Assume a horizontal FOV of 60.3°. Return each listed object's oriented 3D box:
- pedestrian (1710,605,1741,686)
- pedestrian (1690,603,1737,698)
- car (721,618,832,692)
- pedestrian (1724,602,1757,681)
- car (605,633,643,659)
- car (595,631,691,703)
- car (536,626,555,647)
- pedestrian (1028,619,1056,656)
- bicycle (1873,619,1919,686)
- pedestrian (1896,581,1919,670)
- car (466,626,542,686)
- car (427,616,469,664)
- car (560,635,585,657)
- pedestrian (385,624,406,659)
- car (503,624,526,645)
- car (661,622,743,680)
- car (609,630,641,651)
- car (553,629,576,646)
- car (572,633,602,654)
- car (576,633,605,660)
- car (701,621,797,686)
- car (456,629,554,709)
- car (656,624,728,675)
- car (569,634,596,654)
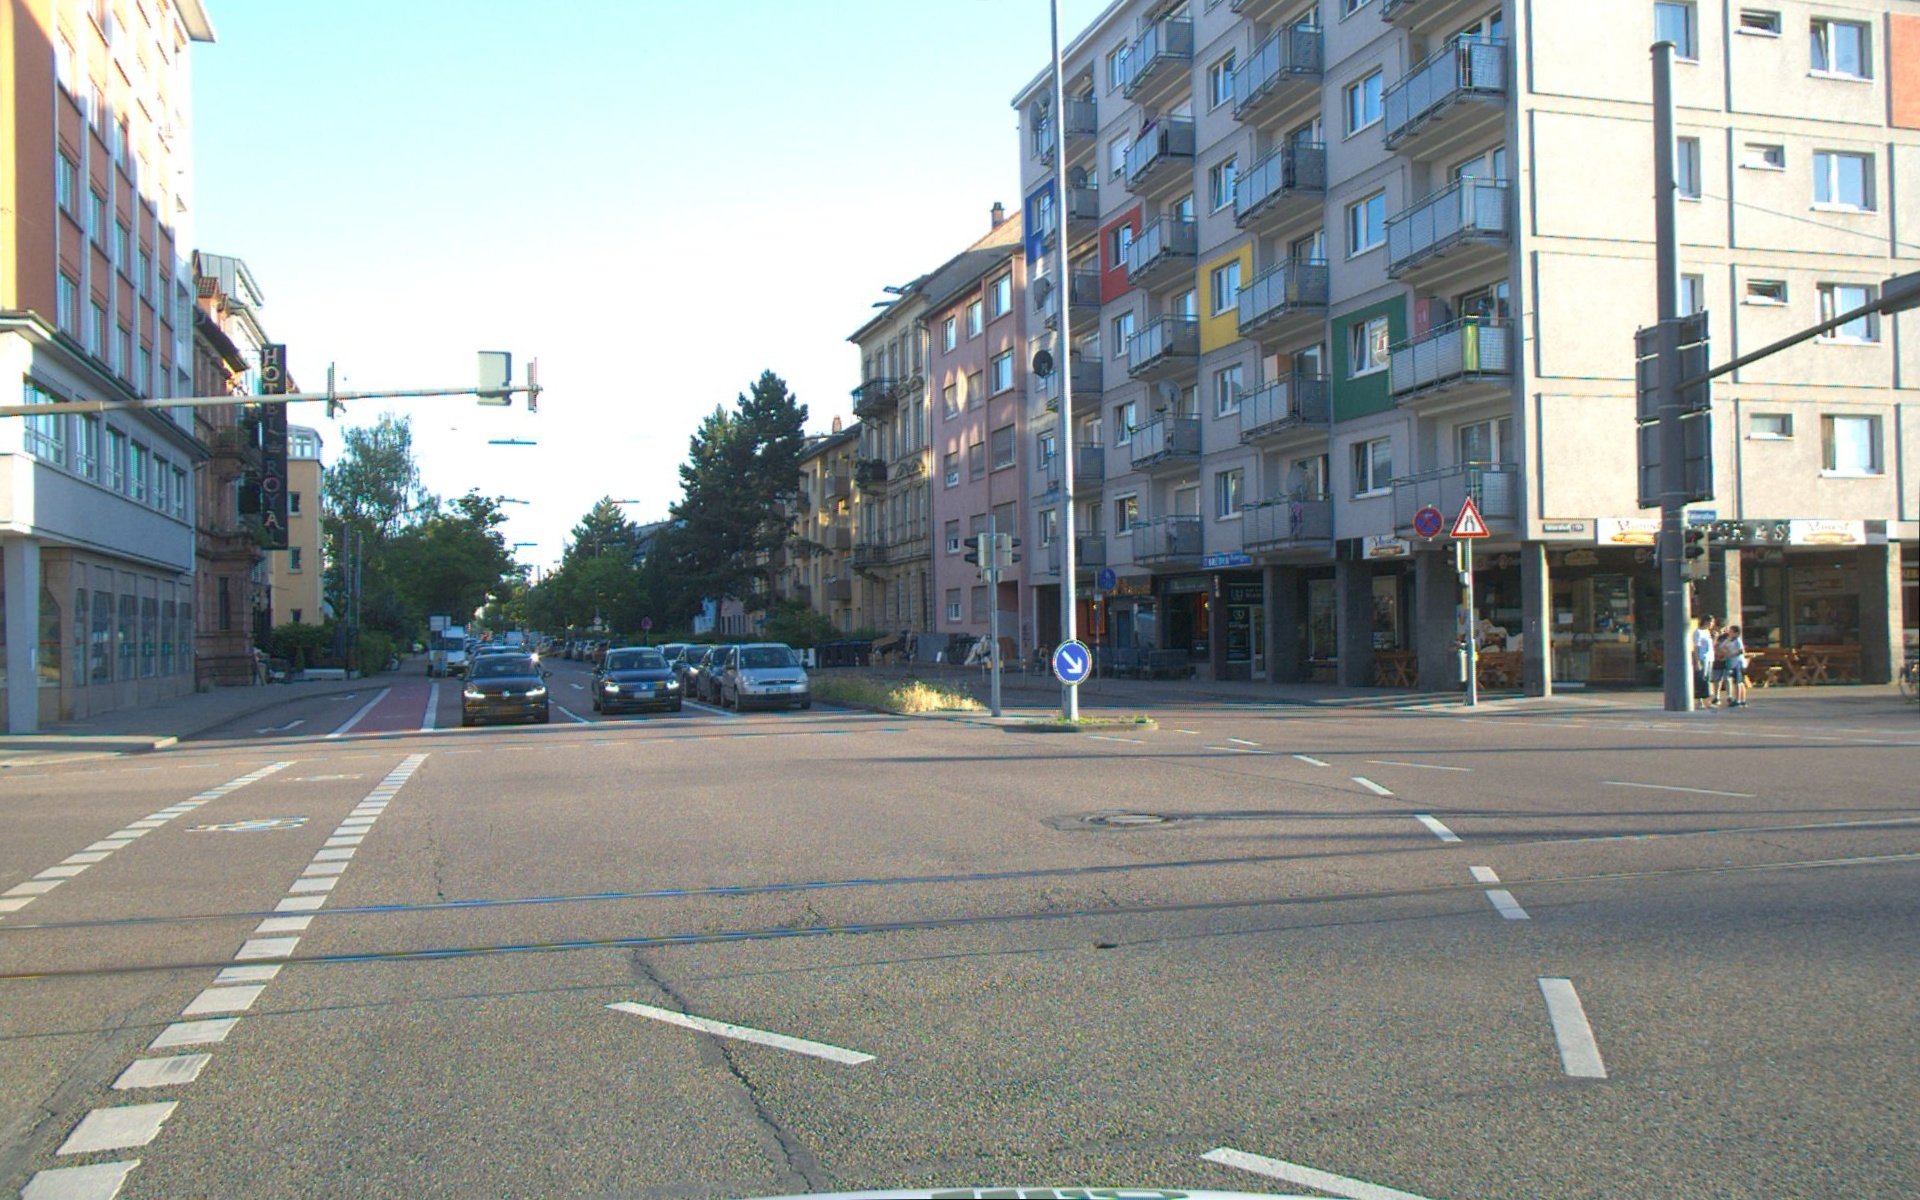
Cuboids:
[{"bbox_3d":[14.126,0.845,30.516,0.372,1.474,0.392,-3,-1,45],"label":"pedestrian"},{"bbox_3d":[13.427,0.894,29.463,0.563,1.648,0.600,-3,-1,41],"label":"pedestrian"},{"bbox_3d":[-4.198,1.191,37.336,1.960,1.512,3.985,-2,0,-14],"label":"car"},{"bbox_3d":[14.051,0.750,29.771,0.376,1.407,0.393,-3,-1,44],"label":"pedestrian"},{"bbox_3d":[-21.300,2.905,104.838,1.962,1.544,4.201,-2,-1,-17],"label":"car"},{"bbox_3d":[-7.432,1.507,38.490,1.960,1.512,3.985,-2,-1,-14],"label":"car"},{"bbox_3d":[-50.832,4.456,202.802,1.961,2.418,3.982,-2,-1,-16],"label":"car"},{"bbox_3d":[2.866,1.310,57.943,0.700,1.278,0.788,-2,-1,-21],"label":"pedestrian"},{"bbox_3d":[18.081,0.973,30.922,0.626,1.229,1.791,-1,-1,-18],"label":"bicycle"},{"bbox_3d":[18.740,0.494,32.320,0.533,1.713,0.581,-2,-1,4],"label":"pedestrian"},{"bbox_3d":[-12.916,1.550,46.844,1.961,1.558,3.982,-2,0,-16],"label":"car"},{"bbox_3d":[-26.490,2.069,85.713,1.962,2.365,4.201,-2,-1,-17],"label":"car"},{"bbox_3d":[-35.534,4.193,151.652,1.962,1.866,4.201,-1,-1,-17],"label":"car"},{"bbox_3d":[-34.360,2.527,100.639,1.012,2.049,0.935,-1,-1,-31],"label":"pedestrian"},{"bbox_3d":[-53.677,4.160,199.115,2.575,2.418,5.232,-2,-1,-16],"label":"car"},{"bbox_3d":[-7.480,1.437,47.634,1.960,1.512,3.985,-2,-1,-14],"label":"car"},{"bbox_3d":[-25.410,3.063,125.359,1.962,1.544,4.201,-2,-1,-17],"label":"car"},{"bbox_3d":[-38.921,3.694,162.606,1.962,1.544,4.201,-2,-1,-17],"label":"car"},{"bbox_3d":[-28.899,3.379,128.039,1.962,1.544,4.201,-2,-1,-17],"label":"car"},{"bbox_3d":[-29.667,3.729,132.818,1.962,2.032,4.201,-2,-1,-17],"label":"car"},{"bbox_3d":[-5.426,1.332,42.115,1.960,1.512,3.985,-2,-1,-14],"label":"car"},{"bbox_3d":[-9.642,1.419,35.264,1.848,1.512,3.985,-2,-1,-14],"label":"car"},{"bbox_3d":[-8.761,1.586,53.920,1.960,1.512,3.985,-2,-1,-14],"label":"car"},{"bbox_3d":[-32.032,3.704,140.256,1.962,1.544,4.201,-2,-1,-17],"label":"car"}]
